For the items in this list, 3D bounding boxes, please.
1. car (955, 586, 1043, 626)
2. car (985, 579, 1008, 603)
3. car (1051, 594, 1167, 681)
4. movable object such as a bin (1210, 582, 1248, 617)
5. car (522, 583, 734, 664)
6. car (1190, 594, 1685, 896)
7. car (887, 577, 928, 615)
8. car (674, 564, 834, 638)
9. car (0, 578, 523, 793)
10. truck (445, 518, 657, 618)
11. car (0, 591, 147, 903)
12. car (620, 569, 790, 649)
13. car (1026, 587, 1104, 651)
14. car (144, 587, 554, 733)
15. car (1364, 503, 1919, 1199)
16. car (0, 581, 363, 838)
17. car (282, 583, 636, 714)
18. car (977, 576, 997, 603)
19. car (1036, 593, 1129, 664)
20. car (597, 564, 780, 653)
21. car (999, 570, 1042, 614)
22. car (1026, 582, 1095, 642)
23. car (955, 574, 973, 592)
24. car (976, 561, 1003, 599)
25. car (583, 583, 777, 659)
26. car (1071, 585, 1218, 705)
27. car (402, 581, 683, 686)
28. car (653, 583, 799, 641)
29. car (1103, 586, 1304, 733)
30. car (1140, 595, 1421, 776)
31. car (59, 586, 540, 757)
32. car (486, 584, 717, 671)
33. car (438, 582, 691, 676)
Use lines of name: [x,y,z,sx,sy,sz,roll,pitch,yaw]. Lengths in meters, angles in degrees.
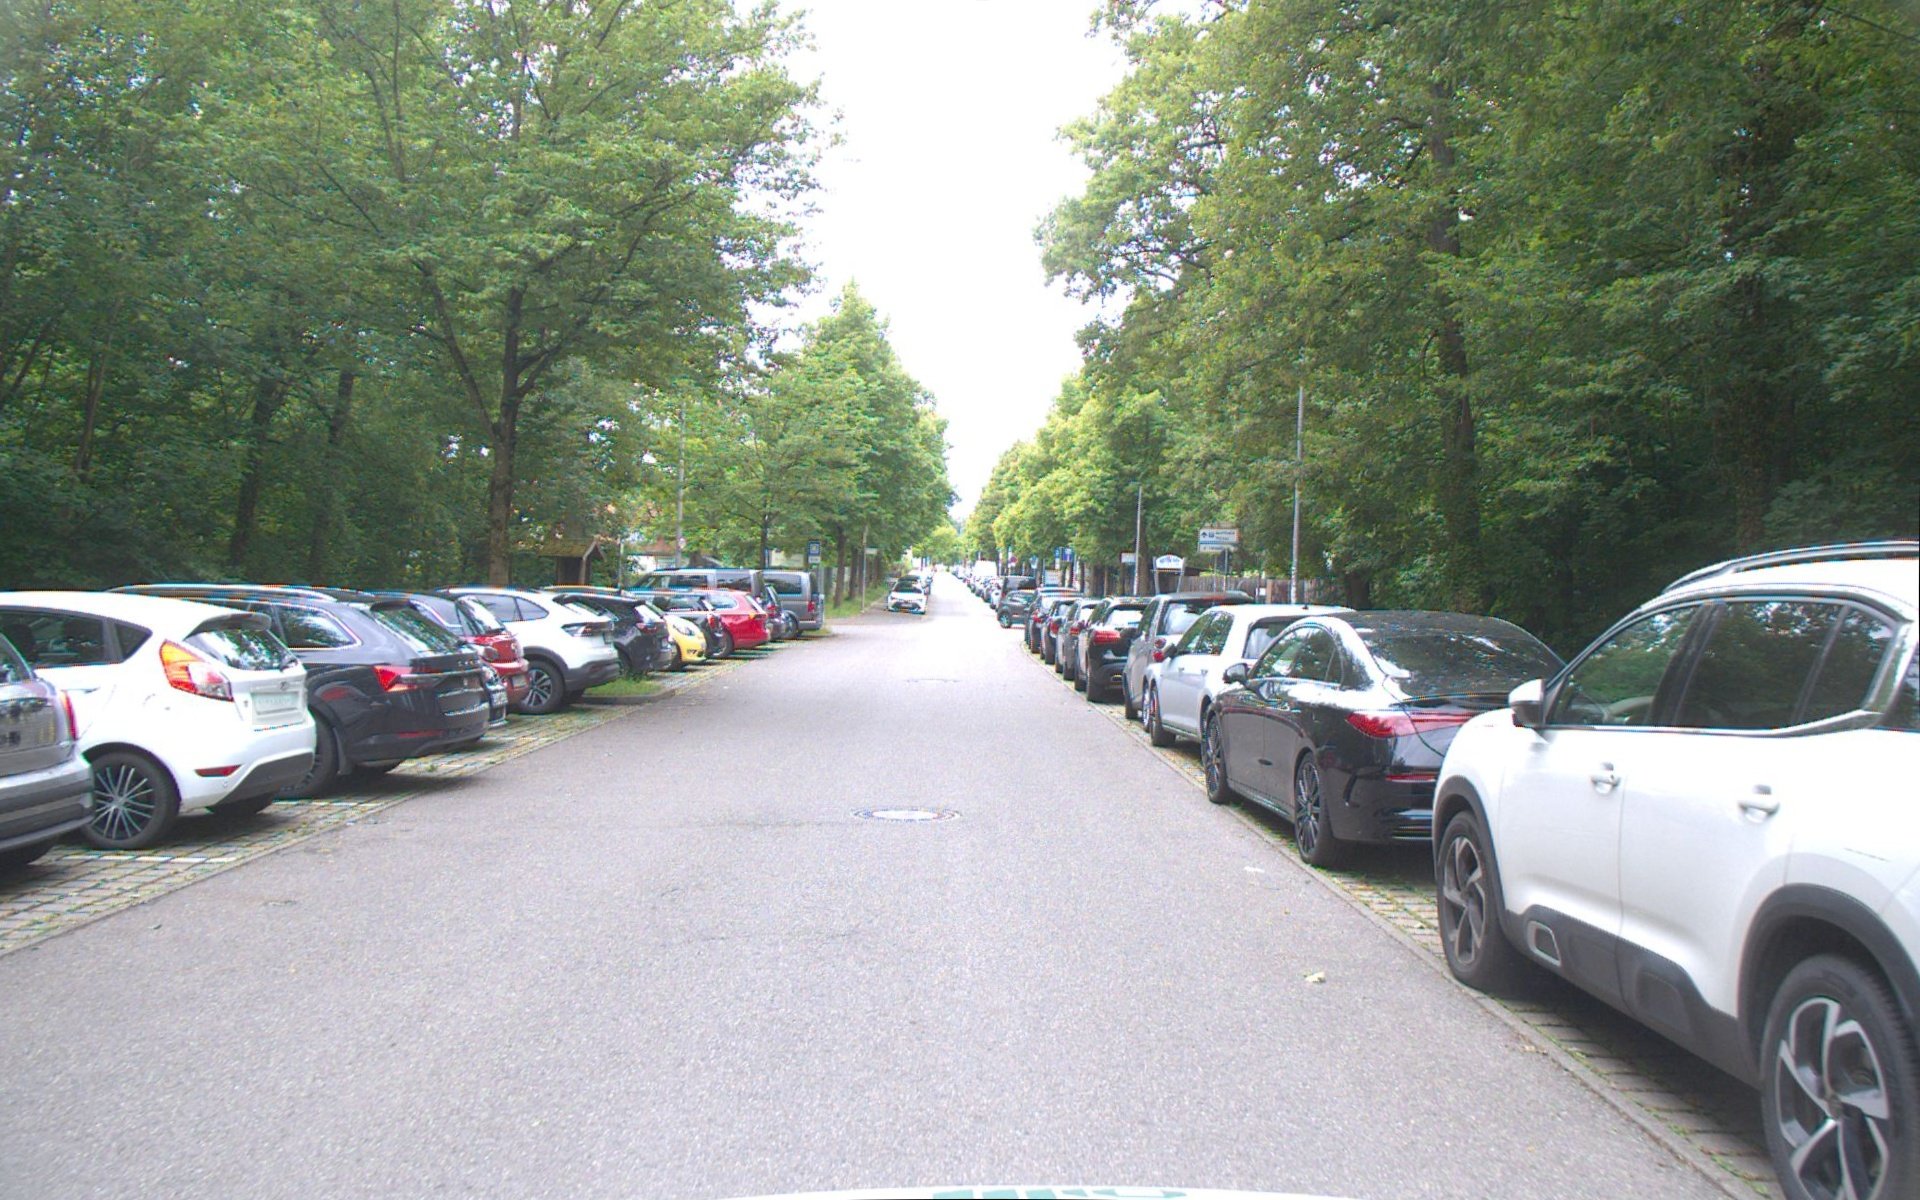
car: [1.501,0.227,64.986,1.849,1.512,3.967,1,0,-26]
car: [2.373,-0.591,108.216,1.439,1.558,3.189,1,1,1]
car: [2.679,0.636,30.603,1.701,1.457,4.501,1,0,0]
movable object such as a bin: [11.456,-0.031,70.361,1.276,1.468,1.061,2,-1,-44]
car: [-6.602,0.453,33.192,3.907,1.463,1.671,2,0,-3]
car: [2.765,0.737,10.744,1.701,1.500,4.603,1,0,-2]
car: [-2.478,-0.203,77.094,1.730,1.623,4.214,4,1,-3]
car: [-5.934,0.038,48.055,4.411,2.013,1.890,1,-1,-2]
car: [-5.584,0.607,12.813,3.904,1.460,1.678,1,0,1]
truck: [-14.523,-1.088,59.321,7.118,3.292,3.431,1,-1,-11]
car: [-6.412,0.676,8.125,3.907,1.446,1.813,0,-1,-2]
car: [-6.220,0.213,40.670,3.907,1.796,1.823,2,0,-2]
car: [2.648,0.452,42.489,1.701,1.521,4.233,1,0,0]
car: [-6.721,0.630,18.466,3.904,1.460,1.702,1,0,1]
car: [2.882,0.630,5.557,1.701,1.672,5.071,1,0,-1]
car: [-6.045,0.632,10.443,3.904,1.461,1.648,1,-1,1]
car: [-6.211,0.576,20.829,3.906,1.493,1.714,1,0,-1]
car: [2.049,-0.807,124.206,1.439,2.002,3.189,1,1,1]
car: [2.676,0.584,36.922,1.701,1.457,4.501,1,0,0]
car: [-6.226,0.191,38.233,3.906,1.895,1.813,2,0,-1]
car: [2.900,-0.409,79.761,1.947,2.049,4.108,1,1,1]
car: [2.894,0.320,48.425,1.701,1.662,4.375,1,0,0]
car: [0.510,-1.966,197.866,1.952,2.049,4.001,1,0,3]
car: [2.473,-1.634,137.762,2.139,3.068,4.897,1,1,1]
car: [-6.007,0.437,35.836,3.907,1.501,1.779,2,0,-3]
car: [2.687,0.608,24.956,1.701,1.617,4.382,1,0,0]
car: [-6.427,0.493,25.757,3.906,1.463,1.715,2,0,-1]
car: [-6.465,0.304,45.912,3.735,1.539,1.810,0,1,2]
car: [2.868,0.647,20.282,1.701,1.595,4.006,1,0,-2]
car: [2.882,0.706,15.776,1.701,1.450,4.152,1,0,-2]
car: [-6.227,0.643,15.879,3.904,1.460,1.678,1,0,1]
car: [-6.626,0.489,30.804,3.906,1.463,1.617,2,0,-1]
car: [-6.737,0.476,28.481,3.906,1.463,1.733,2,0,-1]
